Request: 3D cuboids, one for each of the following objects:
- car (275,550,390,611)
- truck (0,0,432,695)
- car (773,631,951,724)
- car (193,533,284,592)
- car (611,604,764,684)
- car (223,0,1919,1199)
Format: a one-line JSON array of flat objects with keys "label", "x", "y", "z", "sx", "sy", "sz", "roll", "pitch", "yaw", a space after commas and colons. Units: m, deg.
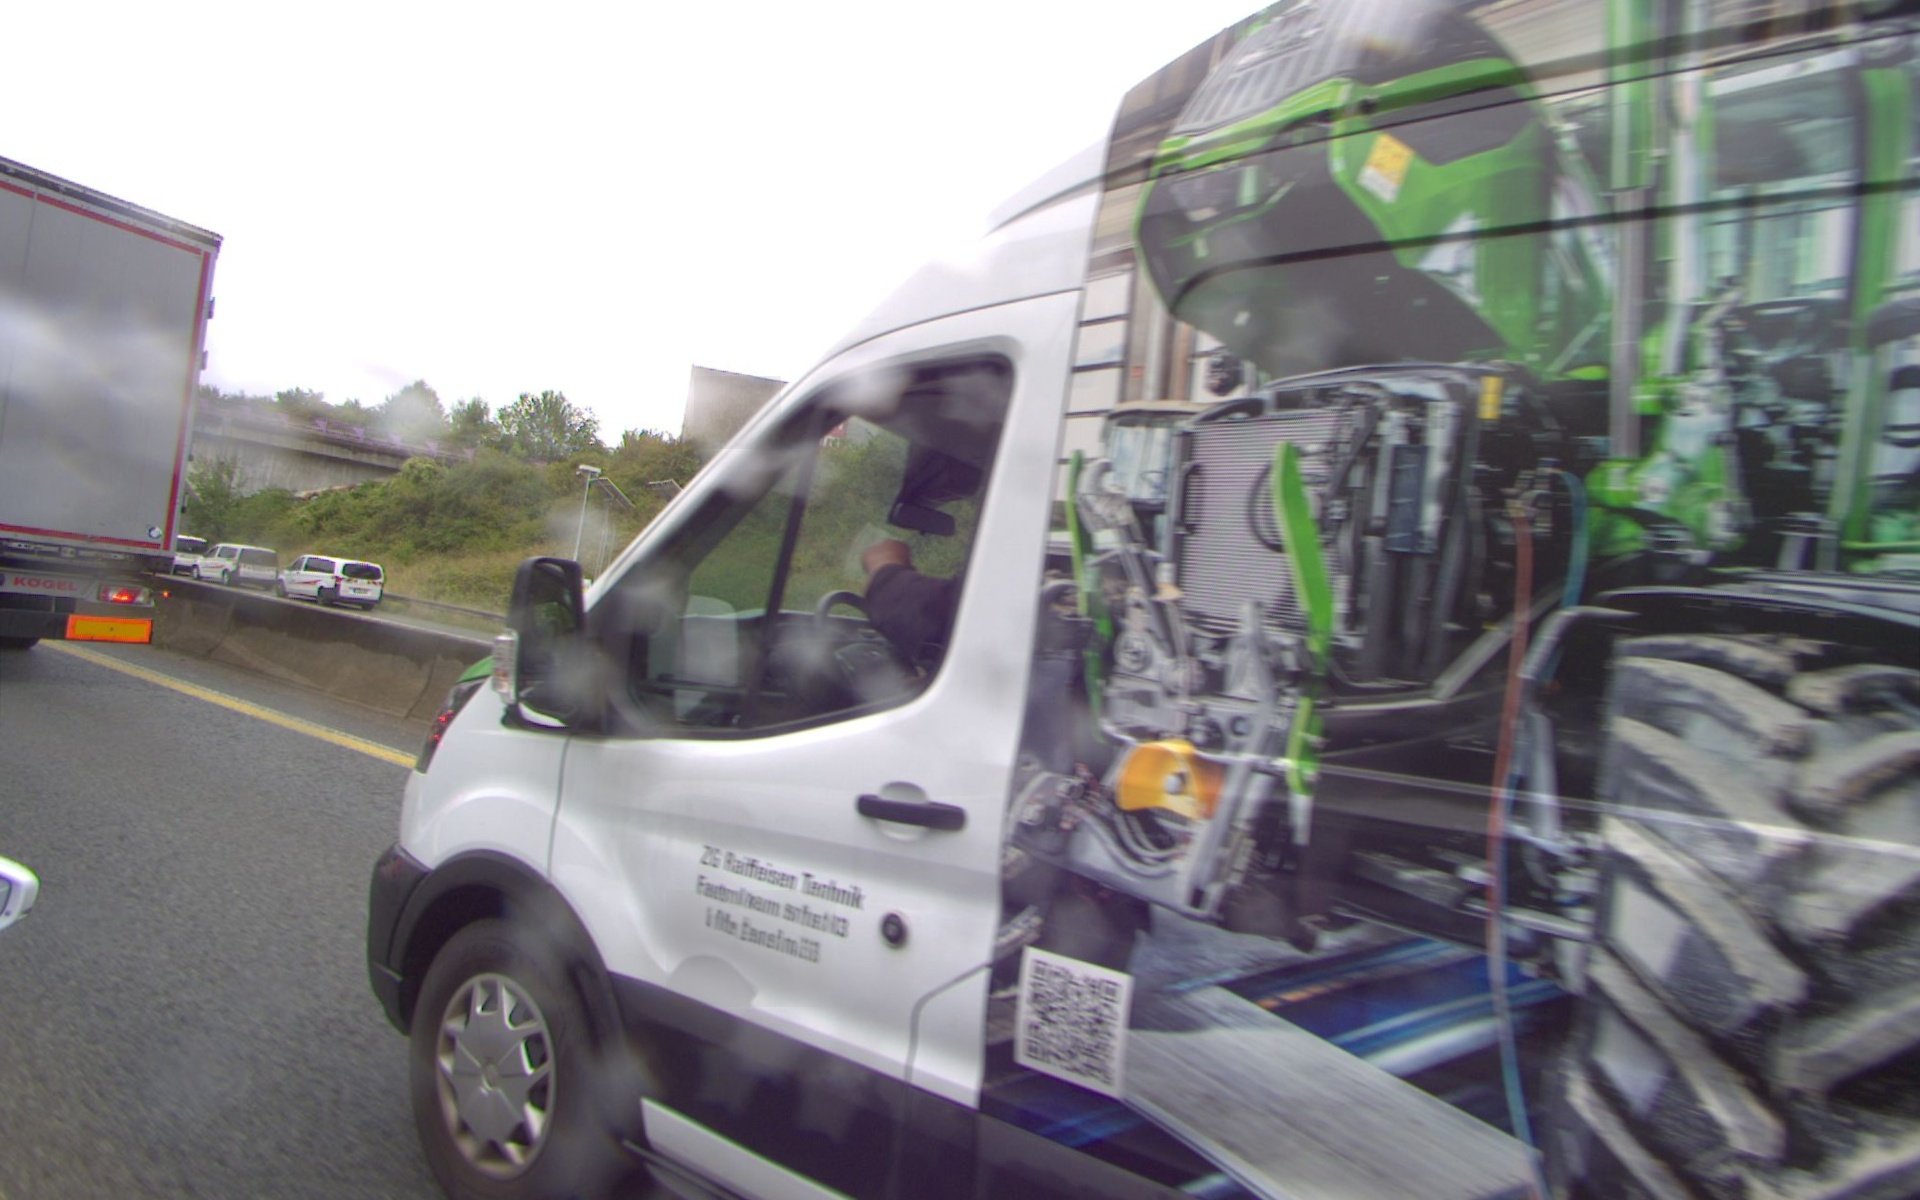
[{"label": "car", "x": -24.963, "y": -0.786, "z": 39.977, "sx": 4.651, "sy": 1.850, "sz": 1.945, "roll": 6, "pitch": -2, "yaw": 34}, {"label": "truck", "x": -14.801, "y": -3.081, "z": 13.263, "sx": 20.042, "sy": 5.739, "sz": 3.986, "roll": 6, "pitch": -1, "yaw": 33}, {"label": "car", "x": -2.585, "y": 2.009, "z": 26.253, "sx": 4.256, "sy": 1.790, "sz": 1.733, "roll": 7, "pitch": -1, "yaw": 30}, {"label": "car", "x": -31.633, "y": -1.667, "z": 44.091, "sx": 4.057, "sy": 2.082, "sz": 1.731, "roll": 6, "pitch": -1, "yaw": 34}, {"label": "car", "x": -8.035, "y": 1.277, "z": 29.555, "sx": 4.196, "sy": 1.778, "sz": 1.733, "roll": 7, "pitch": -1, "yaw": 30}, {"label": "car", "x": 1.204, "y": 0.296, "z": 2.084, "sx": 6.017, "sy": 2.707, "sz": 2.148, "roll": 6, "pitch": -1, "yaw": 33}]
